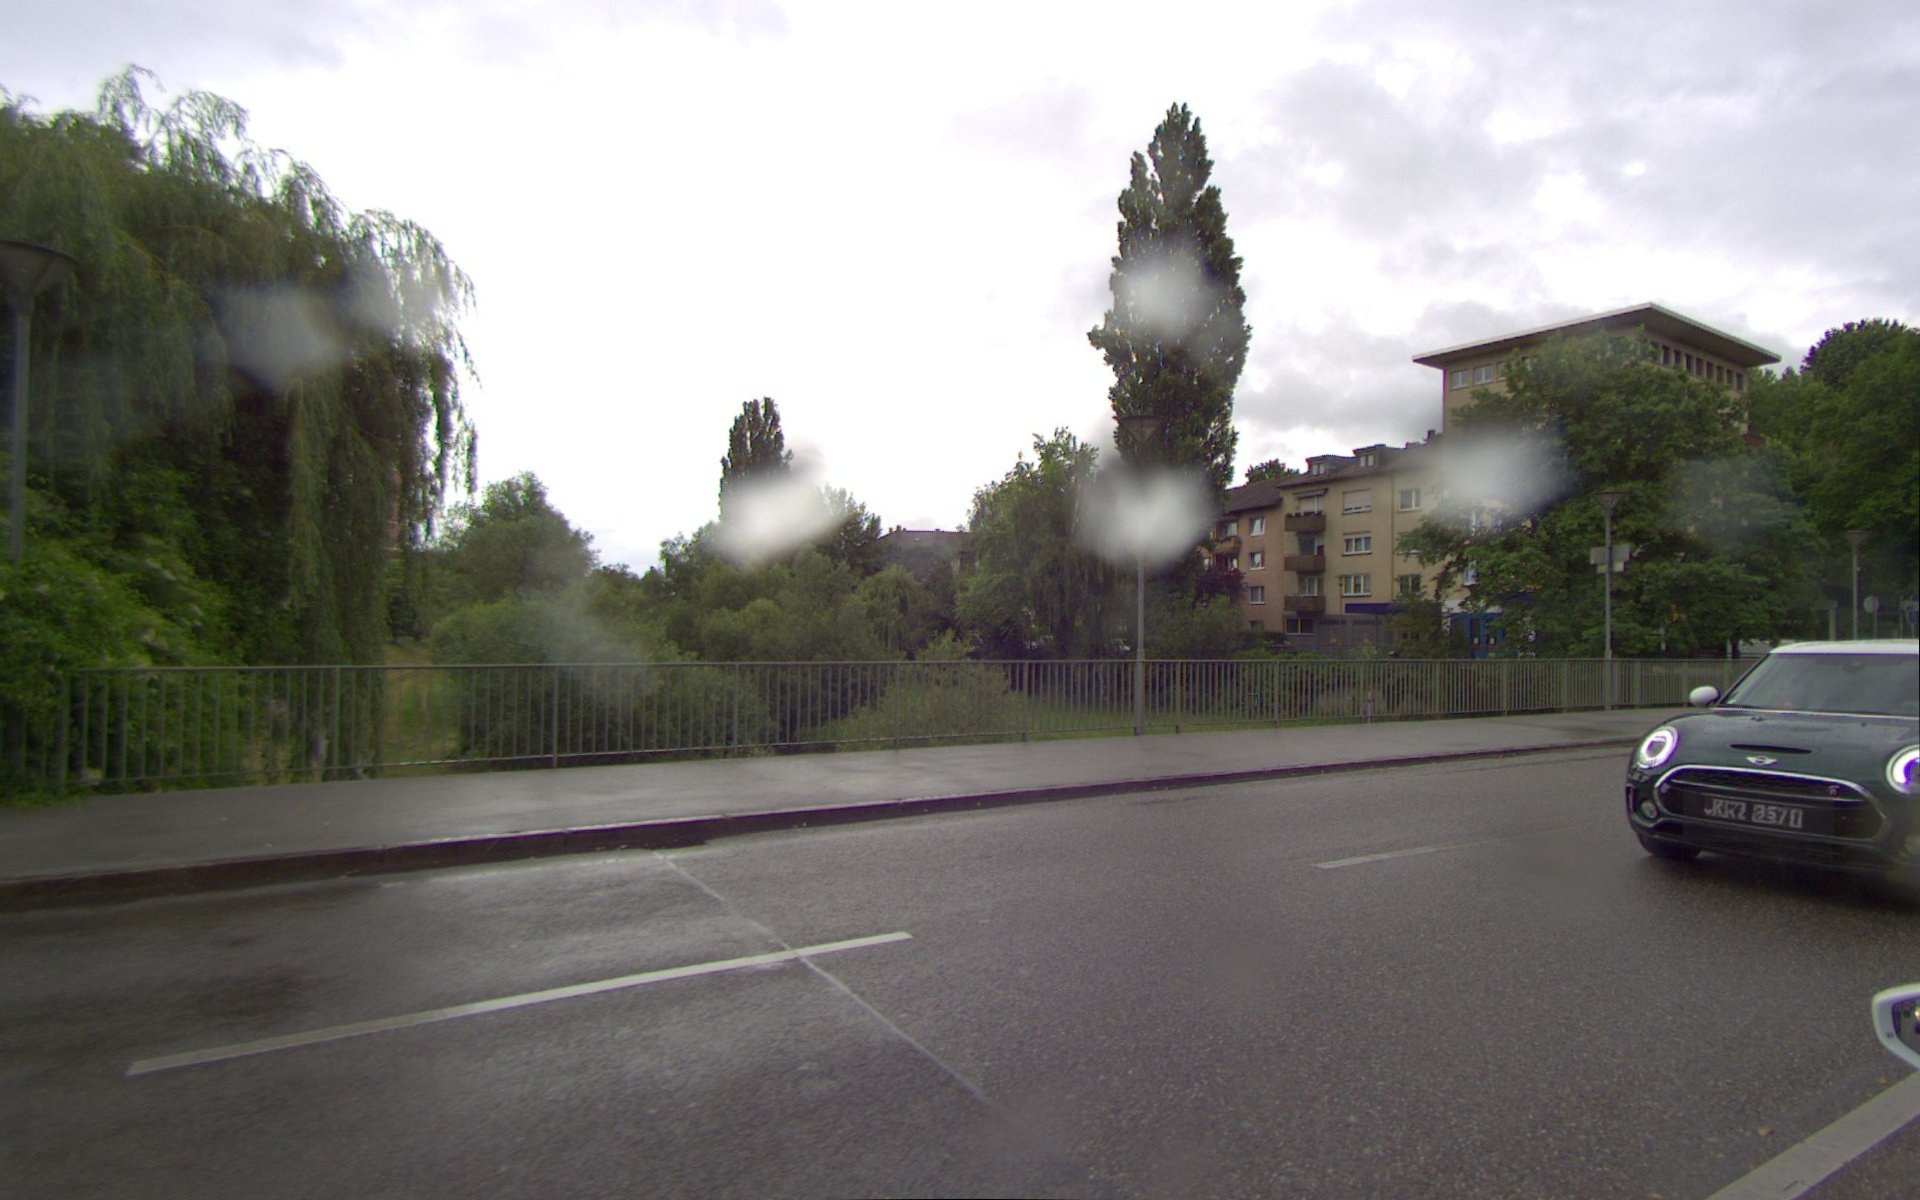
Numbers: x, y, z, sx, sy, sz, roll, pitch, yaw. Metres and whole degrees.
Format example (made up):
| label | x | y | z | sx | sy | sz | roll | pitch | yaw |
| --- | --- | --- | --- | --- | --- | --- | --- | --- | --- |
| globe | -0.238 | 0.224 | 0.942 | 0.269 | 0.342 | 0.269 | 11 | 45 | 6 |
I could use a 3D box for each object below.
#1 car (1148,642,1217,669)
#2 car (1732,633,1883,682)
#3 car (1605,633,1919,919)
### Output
| label | x | y | z | sx | sy | sz | roll | pitch | yaw |
| --- | --- | --- | --- | --- | --- | --- | --- | --- | --- |
| car | 15.977 | 3.964 | 72.247 | 1.982 | 1.676 | 4.705 | 0 | 0 | -38 |
| car | 36.476 | 2.422 | 43.359 | 1.982 | 1.879 | 4.705 | 0 | 0 | -38 |
| car | 6.290 | 0.966 | 6.715 | 3.953 | 1.458 | 1.737 | 2 | -2 | -30 |
